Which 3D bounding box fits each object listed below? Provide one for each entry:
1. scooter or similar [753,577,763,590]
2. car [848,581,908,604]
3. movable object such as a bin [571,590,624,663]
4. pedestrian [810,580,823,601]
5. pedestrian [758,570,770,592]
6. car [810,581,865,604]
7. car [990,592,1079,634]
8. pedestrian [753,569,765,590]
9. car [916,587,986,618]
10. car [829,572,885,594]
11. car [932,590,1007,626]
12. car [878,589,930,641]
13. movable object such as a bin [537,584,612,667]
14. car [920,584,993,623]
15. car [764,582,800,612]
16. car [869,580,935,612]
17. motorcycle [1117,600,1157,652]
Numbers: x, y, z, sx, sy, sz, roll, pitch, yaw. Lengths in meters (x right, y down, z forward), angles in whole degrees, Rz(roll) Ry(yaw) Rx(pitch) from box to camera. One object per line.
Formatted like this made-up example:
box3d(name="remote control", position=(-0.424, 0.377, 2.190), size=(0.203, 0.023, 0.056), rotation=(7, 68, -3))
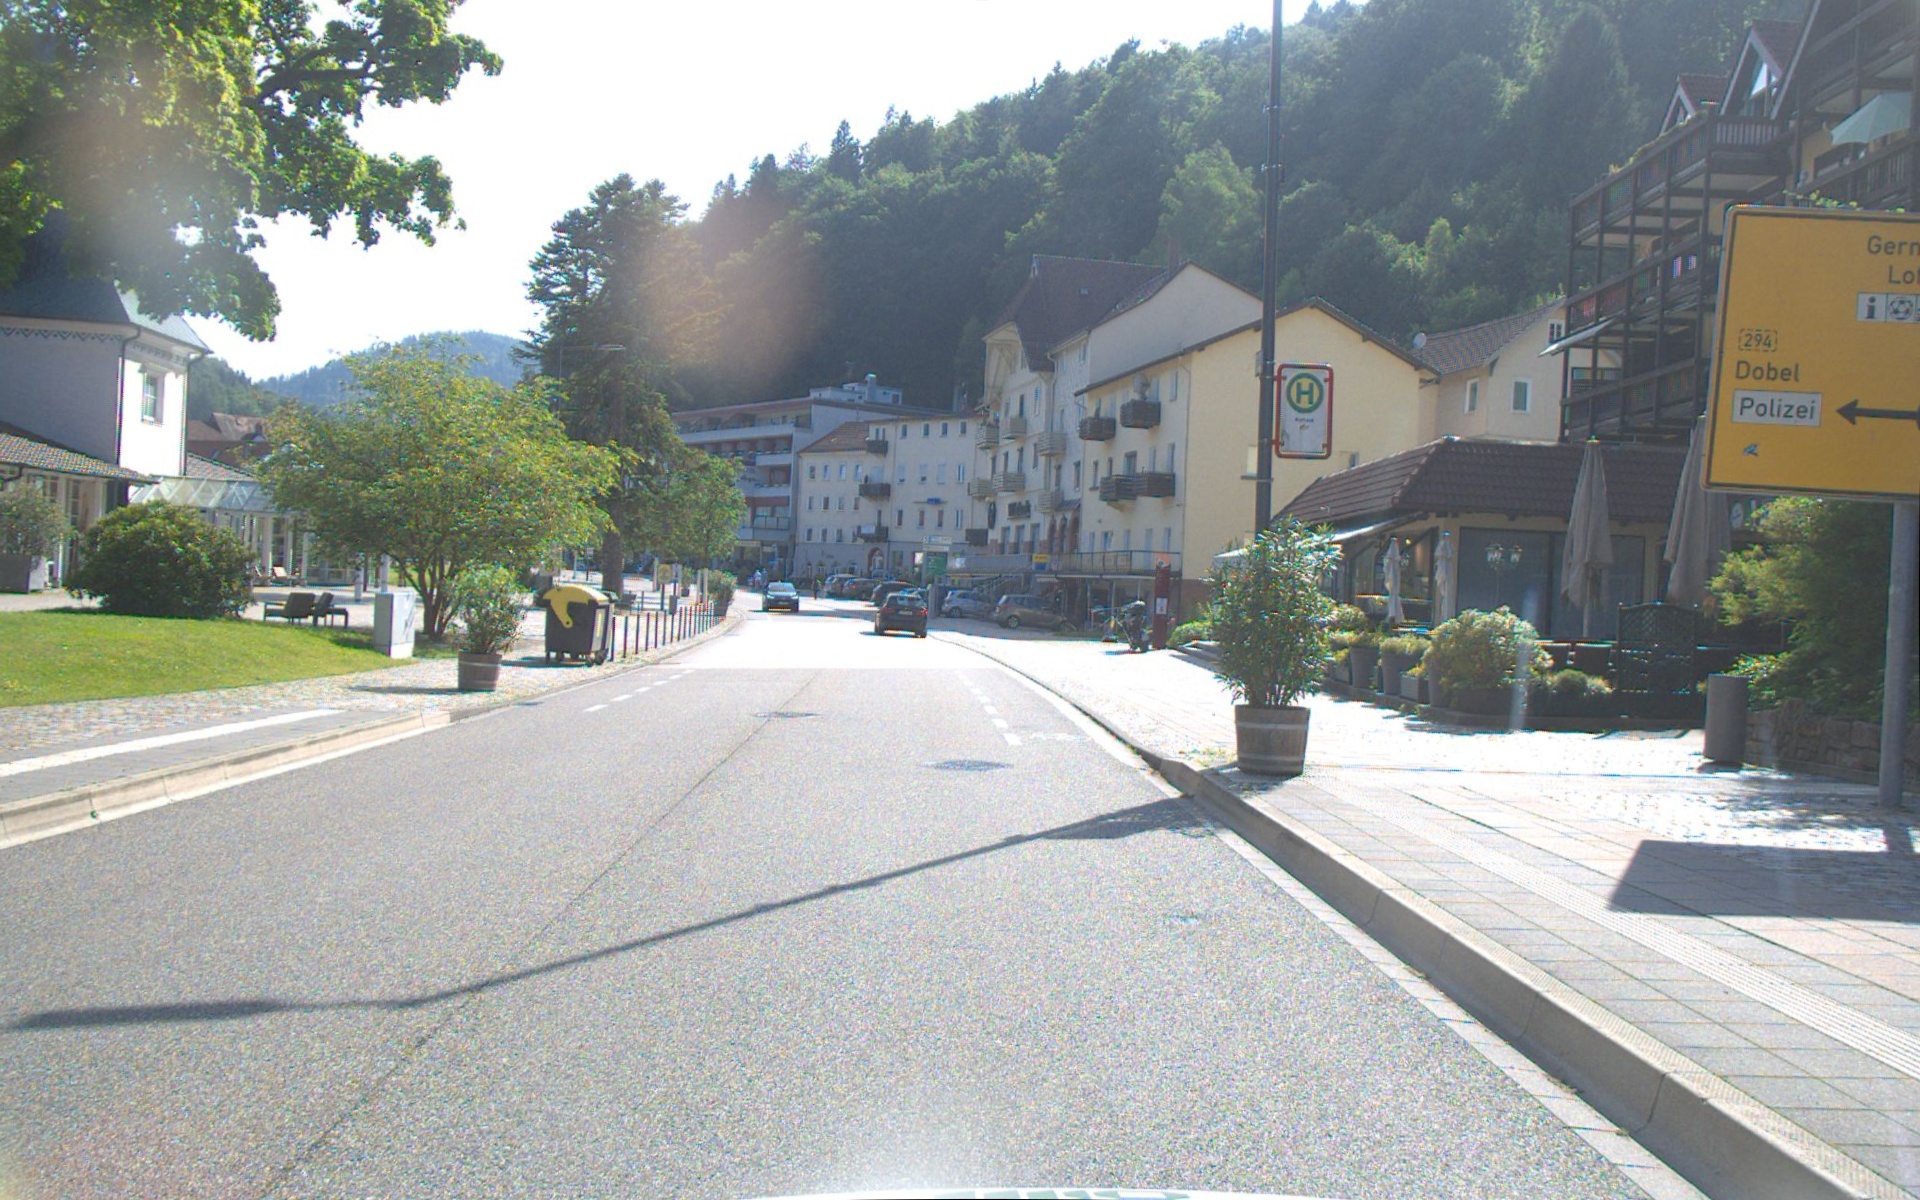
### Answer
box3d(name="scooter or similar", position=(-16.406, -1.328, 134.259), size=(0.590, 0.967, 0.469), rotation=(3, 0, -33))
box3d(name="car", position=(-5.923, -0.572, 119.112), size=(3.968, 1.542, 1.755), rotation=(0, 3, -31))
box3d(name="movable object such as a bin", position=(-7.232, 0.513, 33.060), size=(0.740, 1.365, 1.294), rotation=(4, 0, -3))
box3d(name="pedestrian", position=(-10.226, -0.680, 117.898), size=(0.729, 1.467, 0.625), rotation=(0, 1, -36))
box3d(name="pedestrian", position=(-16.054, -1.528, 135.488), size=(0.662, 1.758, 0.700), rotation=(3, 0, -33))
box3d(name="car", position=(-9.328, -0.613, 126.392), size=(3.821, 1.640, 1.755), rotation=(0, 3, -31))
box3d(name="car", position=(3.532, 0.616, 78.741), size=(3.793, 1.581, 1.755), rotation=(5, 0, -13))
box3d(name="pedestrian", position=(-16.301, -1.659, 134.112), size=(0.750, 1.621, 0.621), rotation=(3, 0, -33))
box3d(name="car", position=(-0.554, 0.141, 97.679), size=(3.839, 1.486, 1.732), rotation=(5, 0, -10))
box3d(name="car", position=(-7.717, -1.258, 123.710), size=(3.821, 1.576, 1.755), rotation=(0, 3, -31))
box3d(name="car", position=(0.516, 0.433, 92.263), size=(3.840, 1.616, 1.771), rotation=(5, 0, -10))
box3d(name="car", position=(-2.096, 0.519, 60.831), size=(1.693, 1.601, 3.751), rotation=(4, 2, -4))
box3d(name="movable object such as a bin", position=(-7.266, 0.473, 31.226), size=(1.057, 1.452, 1.376), rotation=(4, 0, -3))
box3d(name="car", position=(-0.217, 0.194, 94.951), size=(3.840, 1.835, 1.853), rotation=(6, -1, -10))
box3d(name="car", position=(-9.207, -0.174, 85.707), size=(1.707, 1.488, 4.183), rotation=(1, 0, -4))
box3d(name="car", position=(-3.805, -0.279, 108.674), size=(4.011, 1.694, 1.768), rotation=(6, 0, -10))
box3d(name="motorcycle", position=(4.681, 0.678, 43.845), size=(0.683, 1.319, 2.210), rotation=(0, 0, -4))
